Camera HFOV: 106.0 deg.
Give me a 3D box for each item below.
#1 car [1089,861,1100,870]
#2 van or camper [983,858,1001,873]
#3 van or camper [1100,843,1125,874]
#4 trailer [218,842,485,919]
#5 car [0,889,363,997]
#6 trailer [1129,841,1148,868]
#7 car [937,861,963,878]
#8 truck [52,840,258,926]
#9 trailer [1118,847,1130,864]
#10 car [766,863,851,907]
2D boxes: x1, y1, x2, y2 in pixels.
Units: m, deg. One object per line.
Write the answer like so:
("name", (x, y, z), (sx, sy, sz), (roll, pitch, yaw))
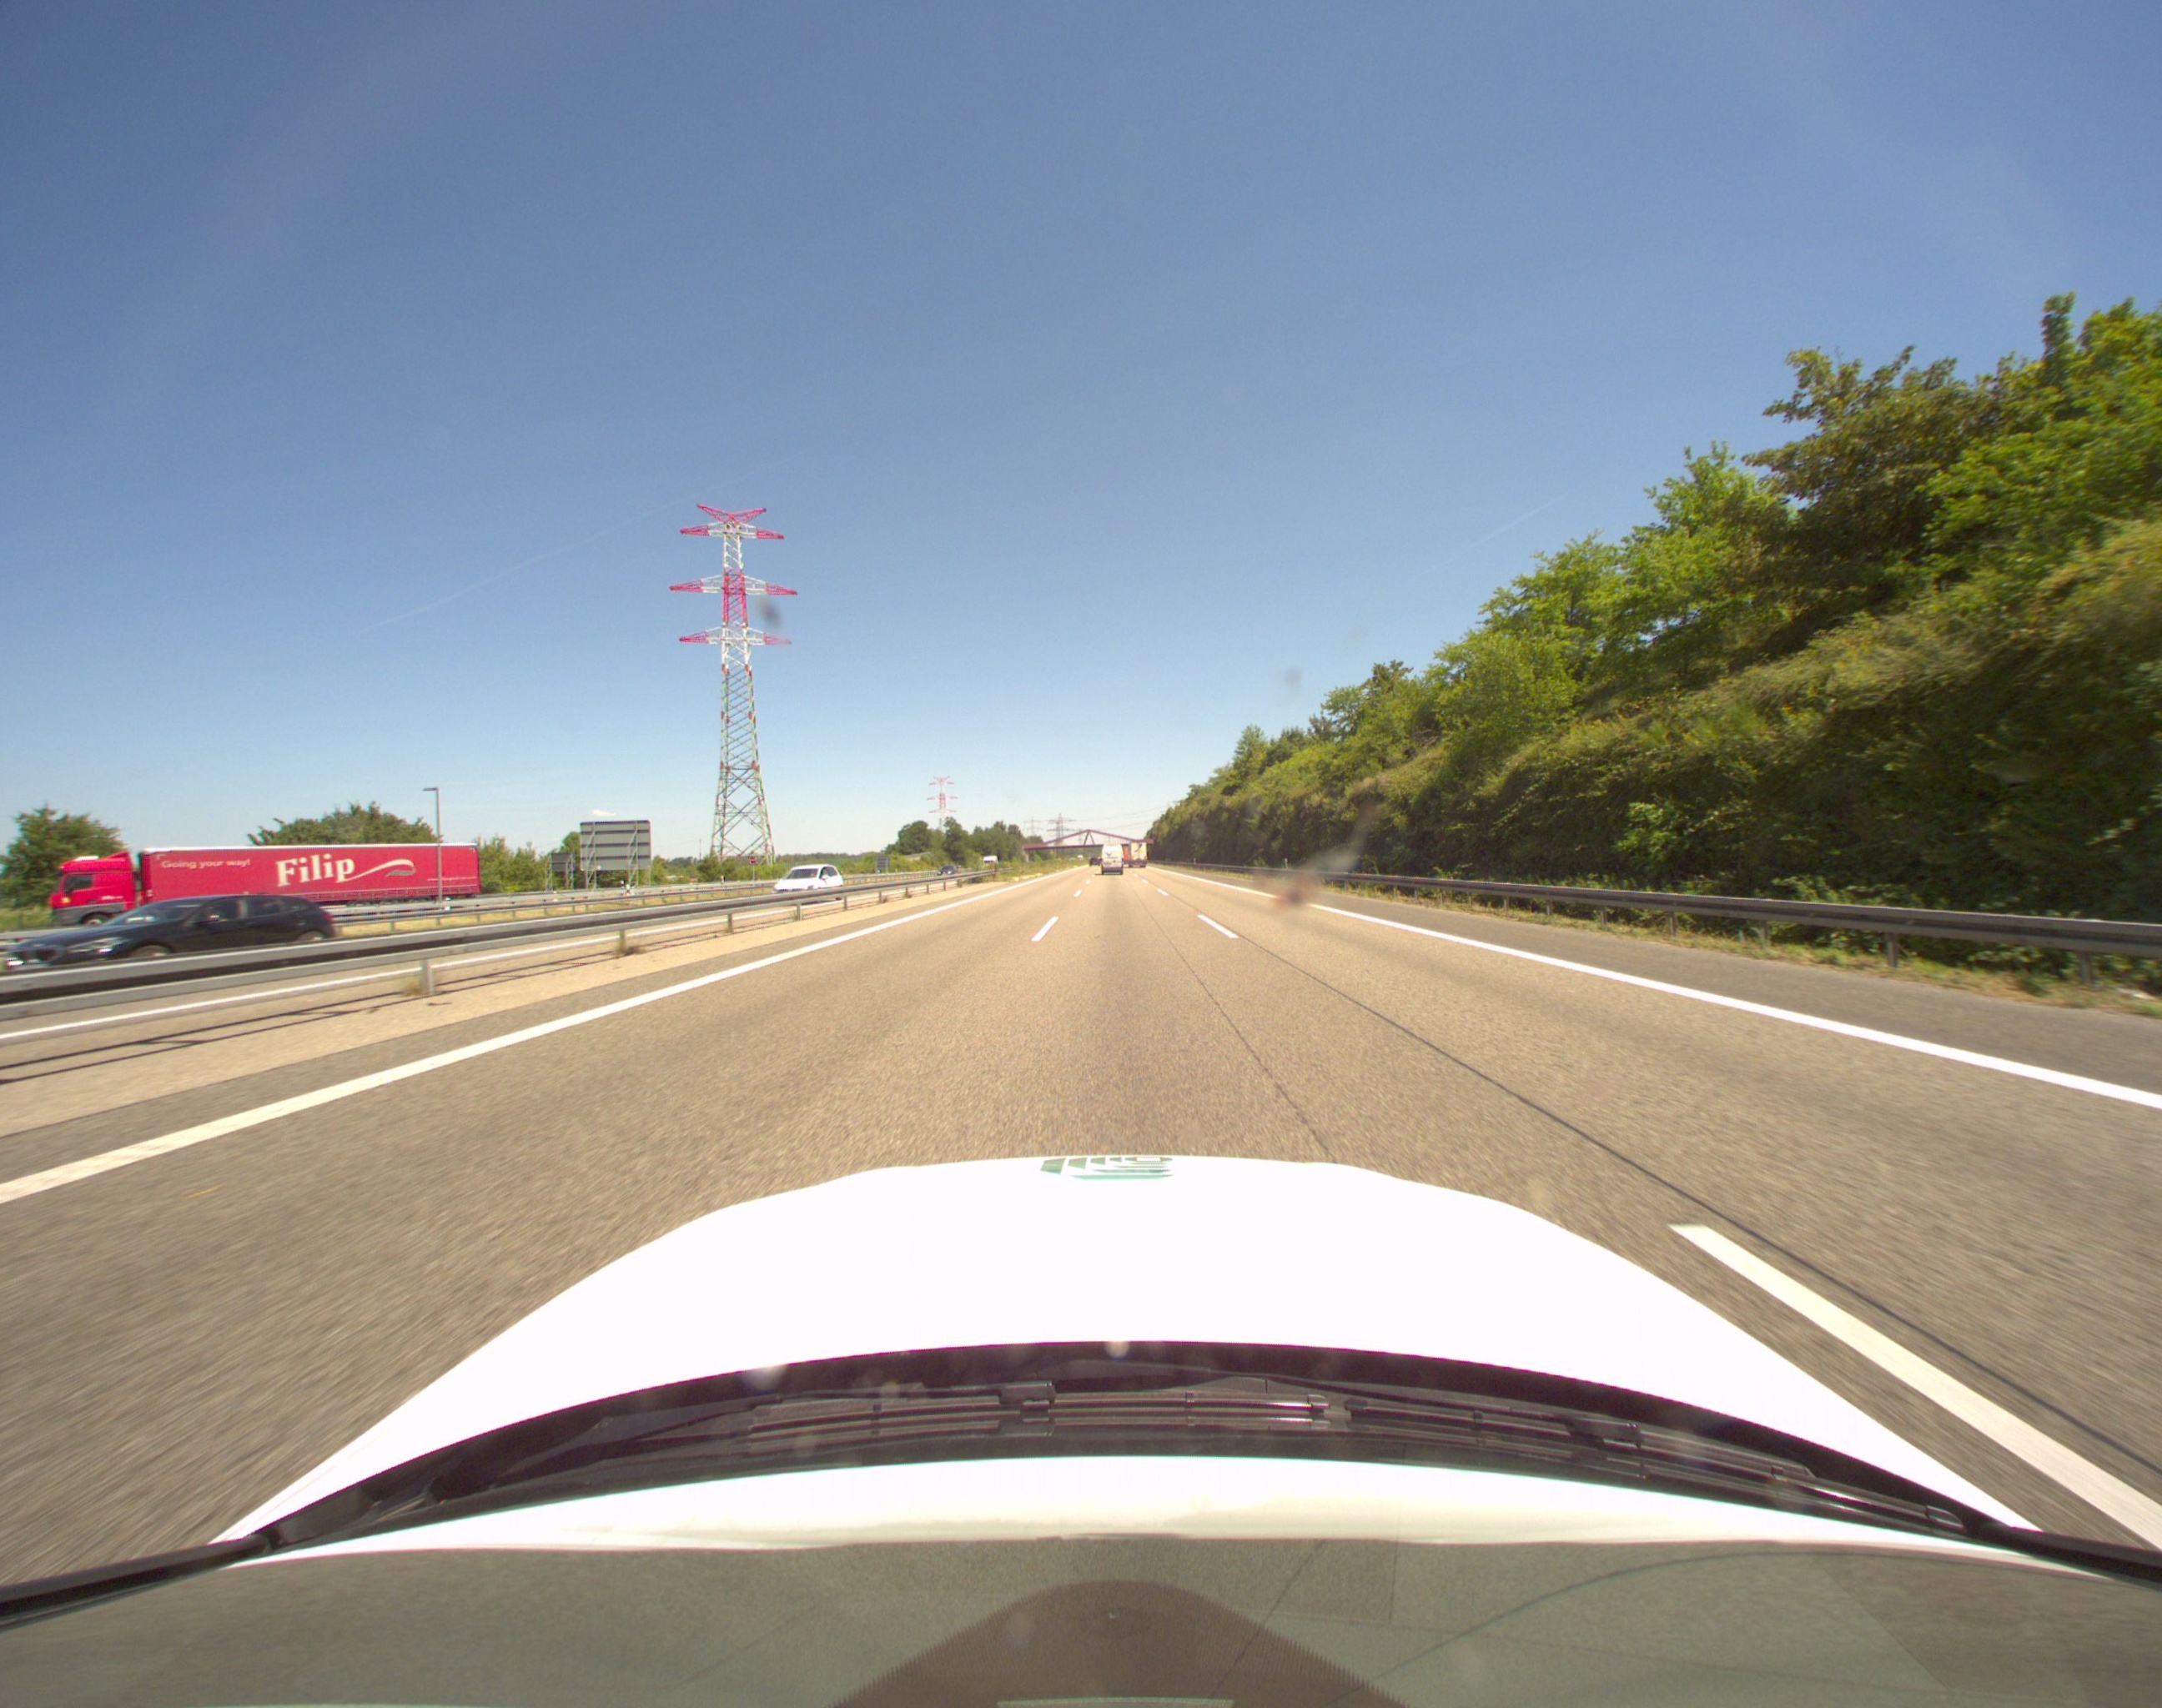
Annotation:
("car", (2.609, 2.193, 159.815), (1.974, 1.817, 3.816), (0, 0, 4))
("van or camper", (-15.318, 1.881, 140.450), (2.051, 2.524, 6.393), (0, 0, 2))
("van or camper", (2.967, 0.456, 76.204), (2.222, 2.782, 5.425), (0, 0, 2))
("trailer", (-42.673, 1.409, 48.332), (3.091, 4.055, 11.385), (0, 0, 36))
("car", (-16.159, 1.487, 14.893), (1.862, 1.398, 4.547), (-4, 0, 2))
("trailer", (9.085, 0.066, 129.681), (2.627, 4.060, 12.374), (0, 0, 3))
("car", (-13.987, 1.616, 87.063), (1.947, 1.810, 5.047), (0, 0, 1))
("truck", (-47.336, 1.370, 41.829), (3.087, 4.049, 6.687), (0, -1, 36))
("trailer", (10.223, 0.390, 194.164), (2.627, 3.897, 7.073), (0, 0, 3))
("car", (-11.138, 1.221, 33.611), (1.711, 1.529, 4.668), (-4, 0, 2))
